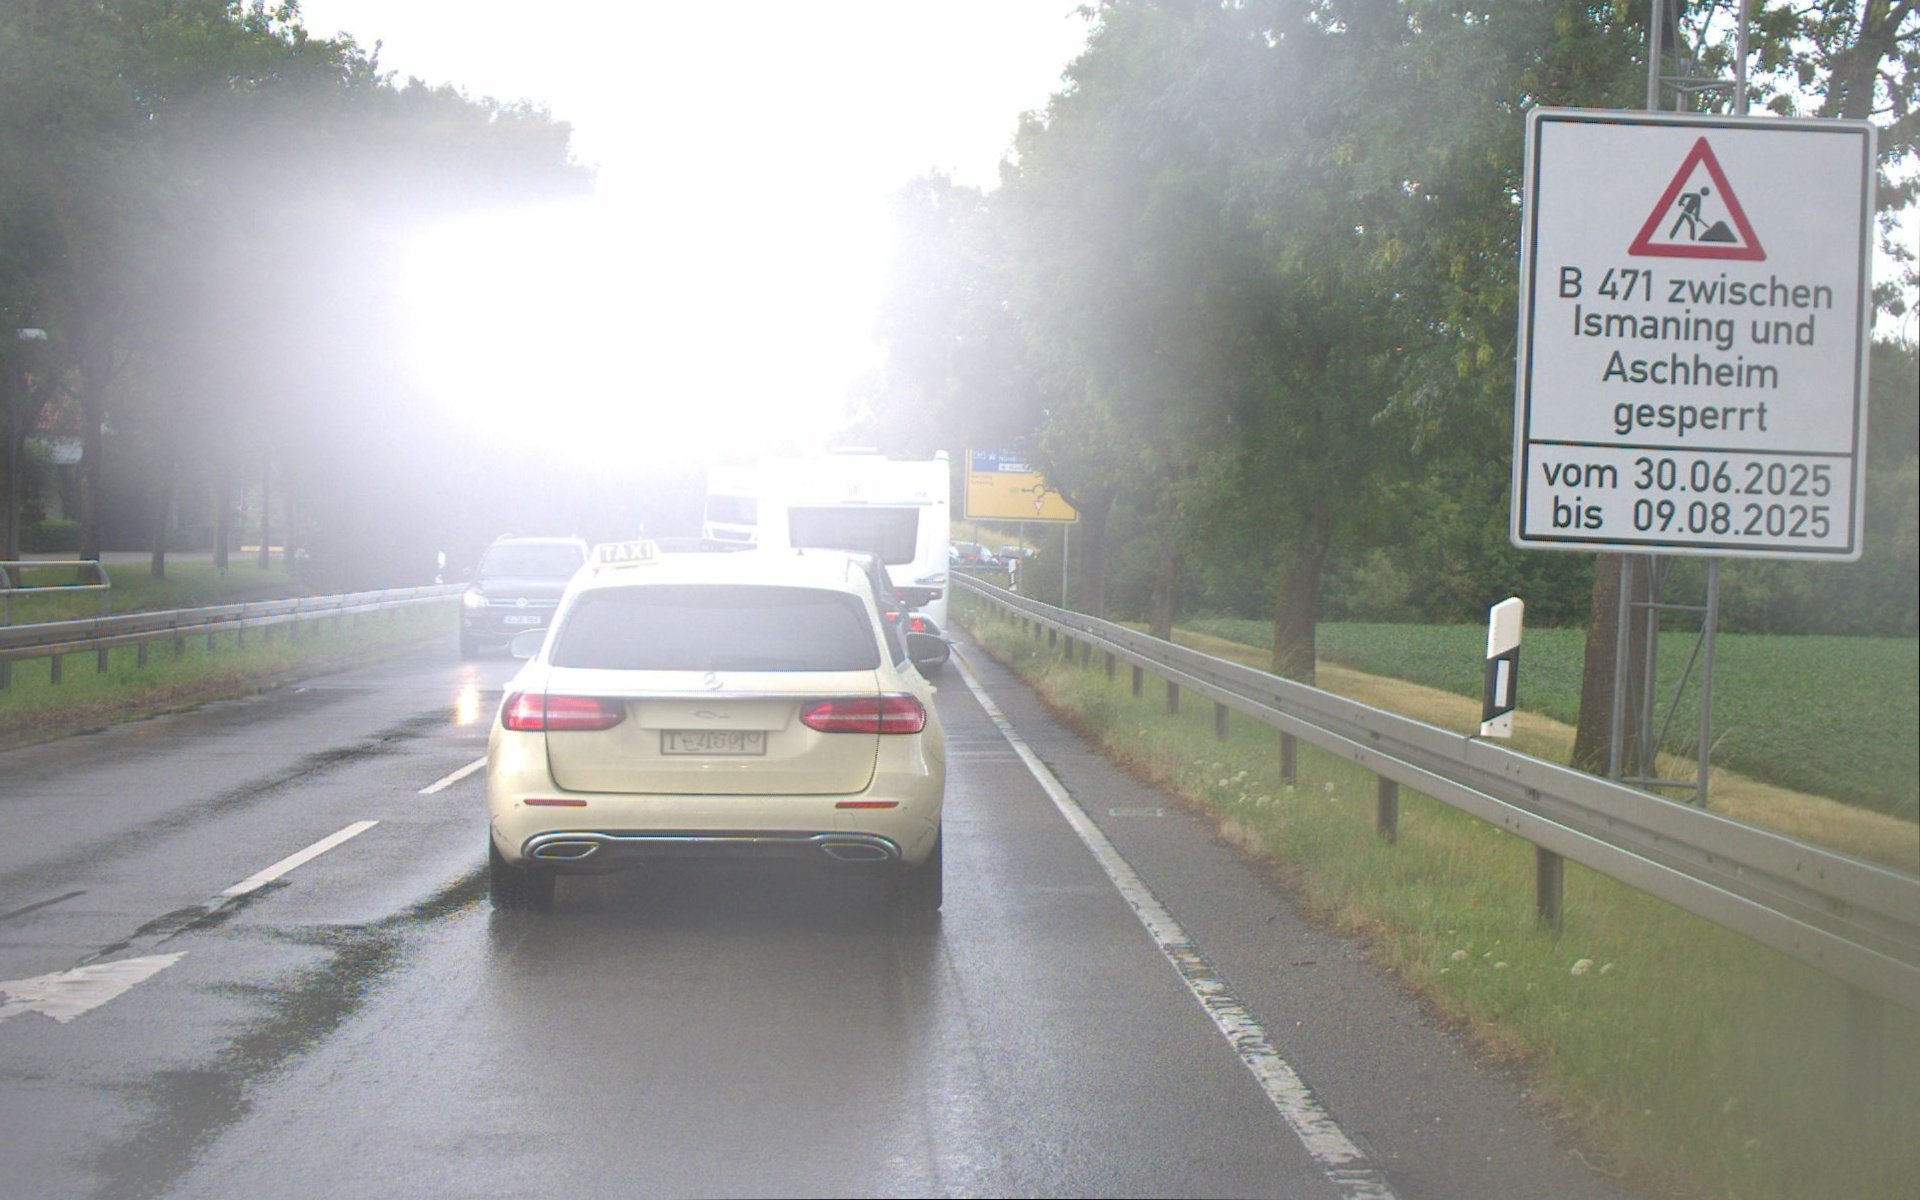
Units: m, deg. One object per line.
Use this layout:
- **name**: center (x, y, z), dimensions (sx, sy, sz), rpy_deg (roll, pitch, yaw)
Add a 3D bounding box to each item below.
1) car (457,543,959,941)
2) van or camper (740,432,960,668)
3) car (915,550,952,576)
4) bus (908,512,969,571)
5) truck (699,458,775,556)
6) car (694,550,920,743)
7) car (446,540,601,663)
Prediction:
- **car**: center (-0.951, 0.499, 14.837), dimensions (1.865, 1.471, 4.000), rpy_deg (0, 1, 0)
- **van or camper**: center (-1.282, -0.631, 42.578), dimensions (2.489, 2.676, 5.700), rpy_deg (1, 1, 0)
- **car**: center (-1.137, -1.588, 148.060), dimensions (1.551, 1.114, 4.000), rpy_deg (1, 1, 0)
- **bus**: center (-0.753, -2.021, 118.484), dimensions (1.993, 2.007, 4.000), rpy_deg (0, 1, -2)
- **truck**: center (-8.121, -3.365, 125.953), dimensions (2.576, 3.440, 9.557), rpy_deg (0, 1, -3)
- **car**: center (-1.172, 0.322, 27.793), dimensions (1.664, 1.426, 4.000), rpy_deg (0, 1, 0)
- **car**: center (-6.007, -0.018, 47.680), dimensions (1.764, 1.614, 4.001), rpy_deg (0, 1, -2)
